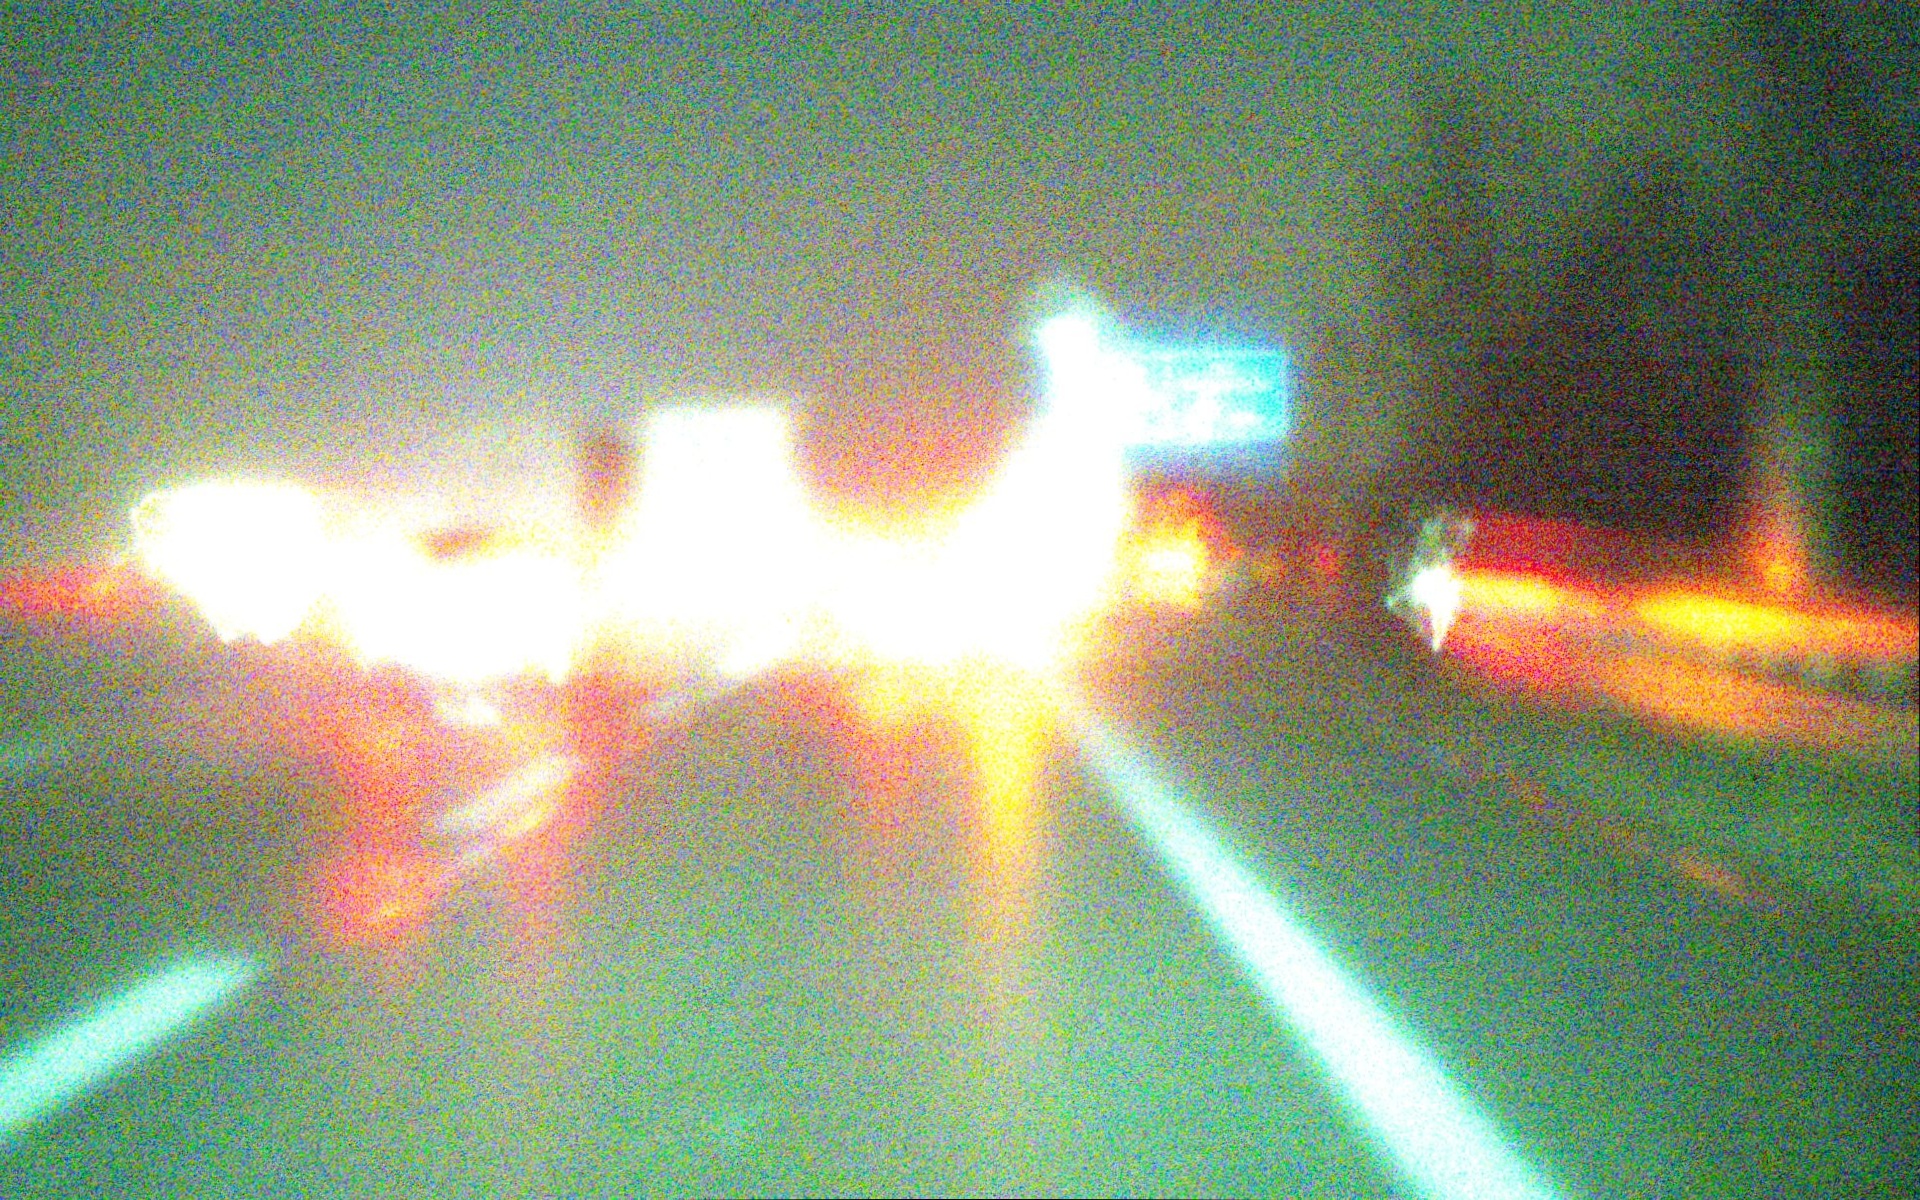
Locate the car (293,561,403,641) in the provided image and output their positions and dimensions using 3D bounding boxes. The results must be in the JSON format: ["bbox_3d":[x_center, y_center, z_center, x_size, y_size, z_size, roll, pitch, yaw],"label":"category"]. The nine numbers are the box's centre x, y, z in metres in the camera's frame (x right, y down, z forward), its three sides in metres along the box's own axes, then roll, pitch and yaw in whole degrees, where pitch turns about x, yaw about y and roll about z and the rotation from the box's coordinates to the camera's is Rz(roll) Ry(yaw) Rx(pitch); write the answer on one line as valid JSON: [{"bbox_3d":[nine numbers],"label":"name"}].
[{"bbox_3d":[-12.742,0.002,71.770,1.993,1.590,4.001,1,1,-7],"label":"car"}]

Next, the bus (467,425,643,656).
[{"bbox_3d":[-8.480,-1.229,73.232,3.096,4.492,10.915,1,1,-4],"label":"bus"}]

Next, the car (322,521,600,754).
[{"bbox_3d":[-4.610,0.303,32.448,2.126,2.007,4.646,1,1,-3],"label":"car"}]

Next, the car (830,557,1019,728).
[{"bbox_3d":[-0.397,0.431,38.862,1.993,1.801,4.000,1,1,0],"label":"car"}]

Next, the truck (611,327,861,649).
[{"bbox_3d":[-4.149,-2.056,66.764,4.210,5.629,11.468,1,1,-1],"label":"truck"}]
